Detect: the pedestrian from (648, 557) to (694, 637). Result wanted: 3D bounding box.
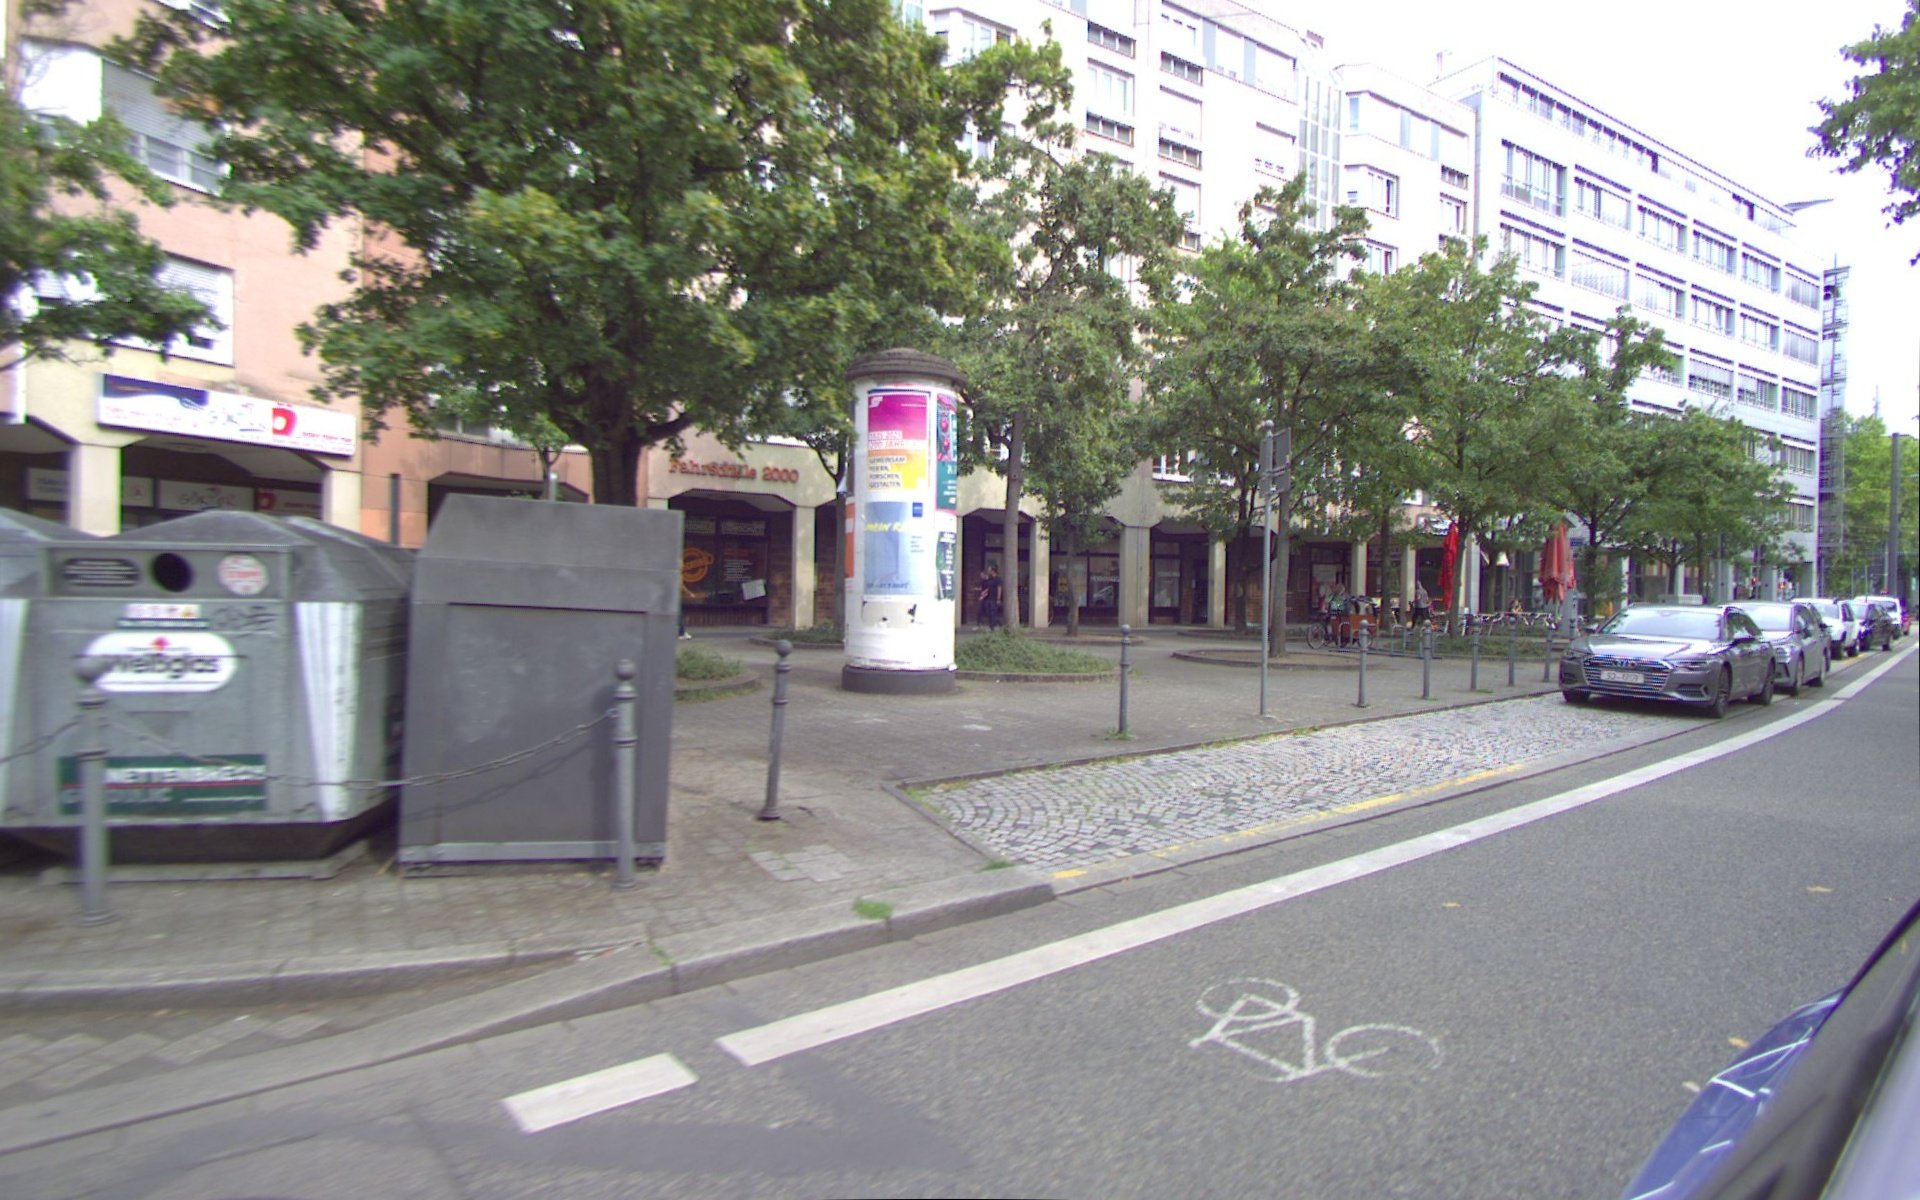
[{"bbox_3d":[-6.243,-0.071,21.859,0.834,1.683,0.535,1,0,-31],"label":"pedestrian"}]

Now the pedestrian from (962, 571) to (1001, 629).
[{"bbox_3d":[0.588,-0.002,27.750,0.783,1.575,0.713,1,1,-29],"label":"pedestrian"}]

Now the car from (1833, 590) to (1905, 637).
[{"bbox_3d":[36.464,0.518,40.690,1.994,1.622,4.514,5,3,41],"label":"car"}]

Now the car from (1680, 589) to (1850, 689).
[{"bbox_3d":[14.674,0.638,18.359,4.326,1.538,1.742,1,2,-43],"label":"car"}]

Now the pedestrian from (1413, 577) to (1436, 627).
[{"bbox_3d":[15.114,0.066,32.935,0.470,1.589,0.518,1,0,-8],"label":"pedestrian"}]

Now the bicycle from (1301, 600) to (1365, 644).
[{"bbox_3d":[8.987,0.528,24.351,1.826,1.025,0.487,1,0,-35],"label":"bicycle"}]

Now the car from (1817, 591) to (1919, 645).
[{"bbox_3d":[30.252,0.579,33.631,4.225,1.596,1.780,1,2,-37],"label":"car"}]

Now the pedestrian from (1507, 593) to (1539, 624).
[{"bbox_3d":[21.563,0.328,38.735,0.685,1.171,0.824,1,0,-32],"label":"pedestrian"}]

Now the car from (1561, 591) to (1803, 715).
[{"bbox_3d":[10.521,0.657,14.612,4.584,1.460,1.820,0,2,-41],"label":"car"}]

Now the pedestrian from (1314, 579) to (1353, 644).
[{"bbox_3d":[9.395,0.274,25.459,0.668,1.606,0.607,1,0,-34],"label":"pedestrian"}]

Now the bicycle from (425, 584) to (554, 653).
[{"bbox_3d":[-8.015,0.306,17.264,1.928,1.126,0.597,1,0,2],"label":"bicycle"}]

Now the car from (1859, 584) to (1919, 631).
[{"bbox_3d":[41.218,0.315,44.821,1.828,1.887,4.574,4,3,44],"label":"car"}]

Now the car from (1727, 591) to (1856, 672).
[{"bbox_3d":[18.223,0.635,22.124,4.135,1.537,1.717,1,2,-45],"label":"car"}]

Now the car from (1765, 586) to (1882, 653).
[{"bbox_3d":[24.306,0.519,28.433,4.090,1.674,1.865,1,2,-41],"label":"car"}]

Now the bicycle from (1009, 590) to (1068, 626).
[{"bbox_3d":[2.356,0.234,30.239,1.826,1.025,0.487,1,0,-35],"label":"bicycle"}]

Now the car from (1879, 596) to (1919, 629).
[{"bbox_3d":[46.187,0.635,49.089,4.177,1.450,1.727,1,3,-40],"label":"car"}]

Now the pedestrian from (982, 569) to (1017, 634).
[{"bbox_3d":[1.050,0.031,26.854,0.668,1.683,0.607,1,0,-34],"label":"pedestrian"}]

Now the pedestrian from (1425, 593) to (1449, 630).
[{"bbox_3d":[15.588,0.381,33.092,0.447,1.191,0.518,1,0,-15],"label":"pedestrian"}]
